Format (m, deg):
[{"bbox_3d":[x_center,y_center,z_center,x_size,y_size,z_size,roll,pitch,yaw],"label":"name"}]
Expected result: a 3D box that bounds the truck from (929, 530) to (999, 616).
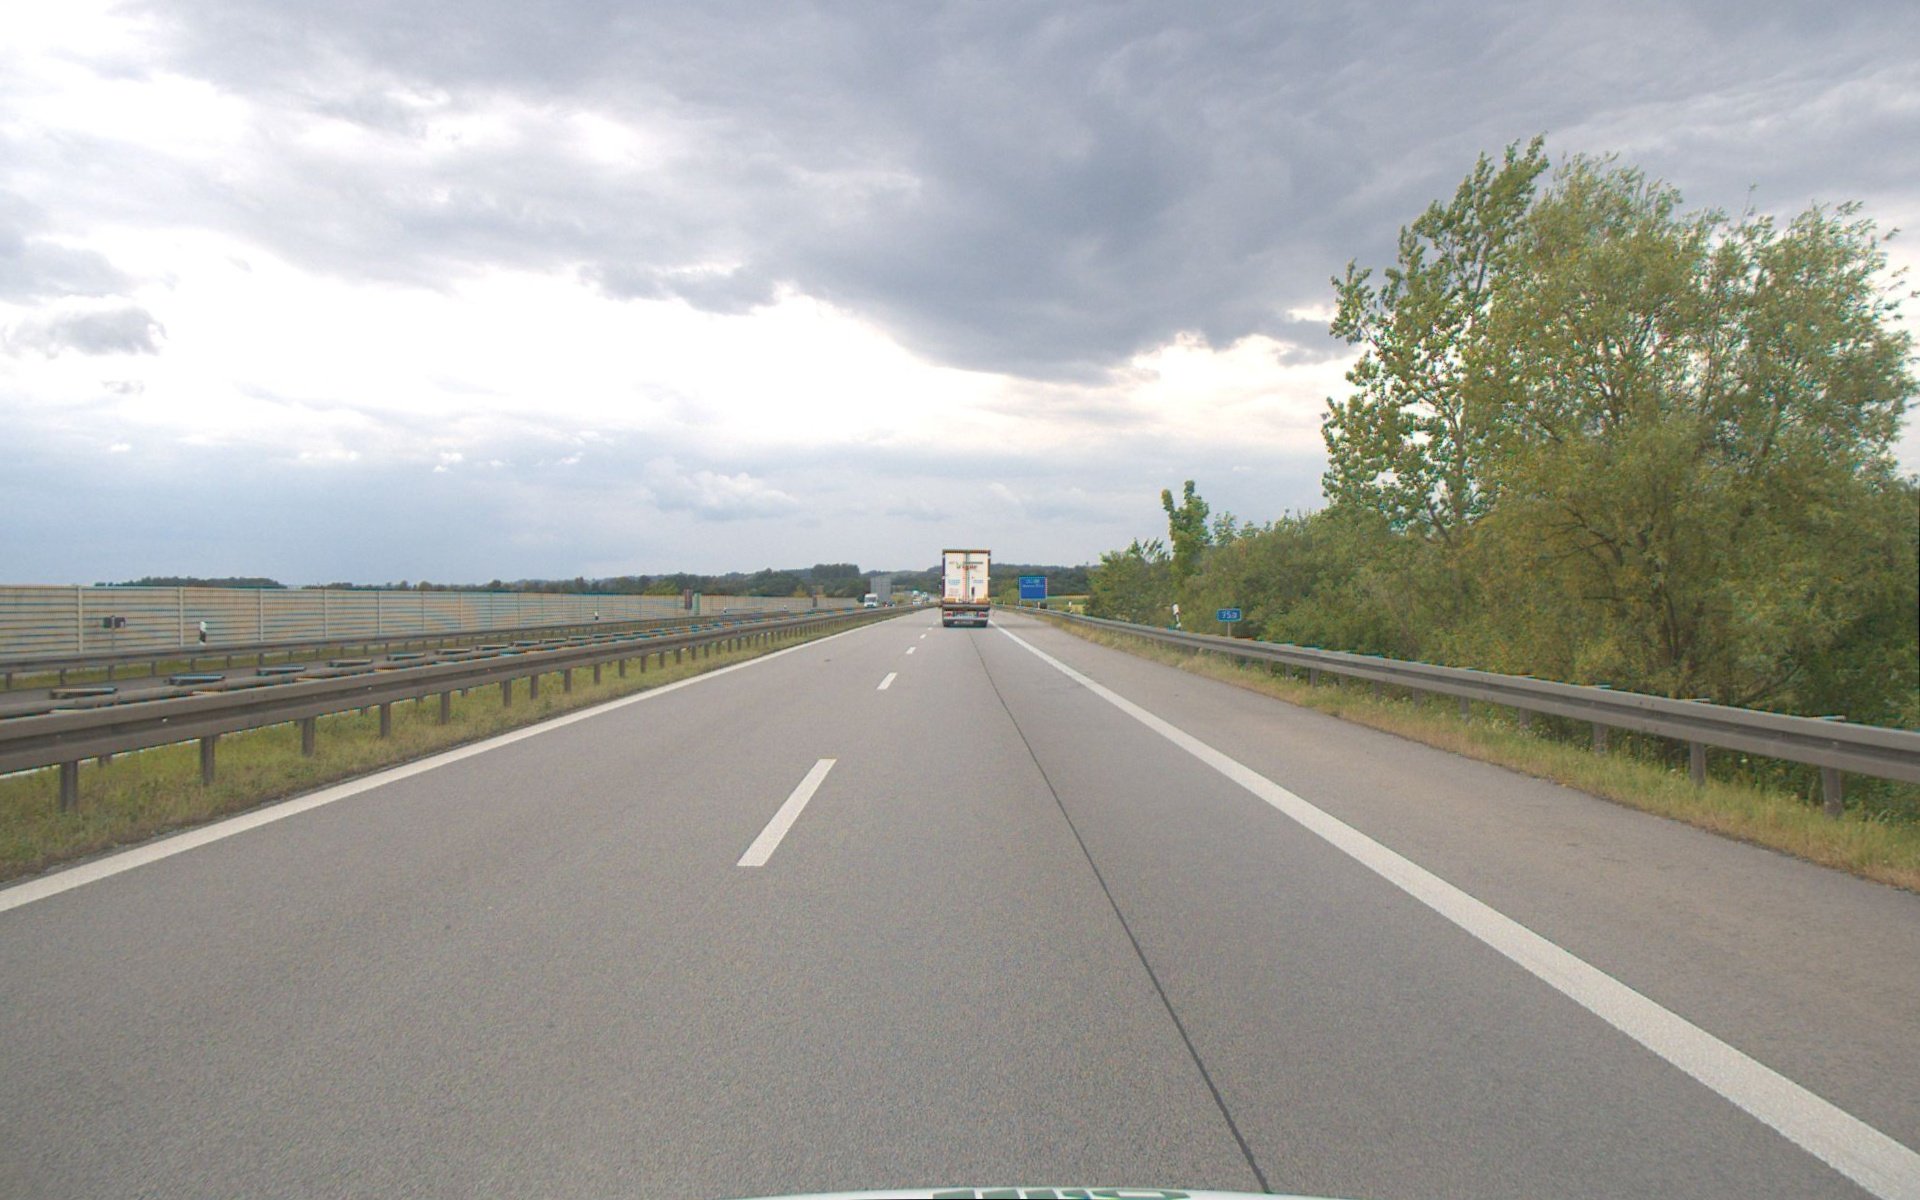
[{"bbox_3d":[0.097,-1.457,94.651,3.598,4.489,16.338,-1,0,-1],"label":"truck"}]
